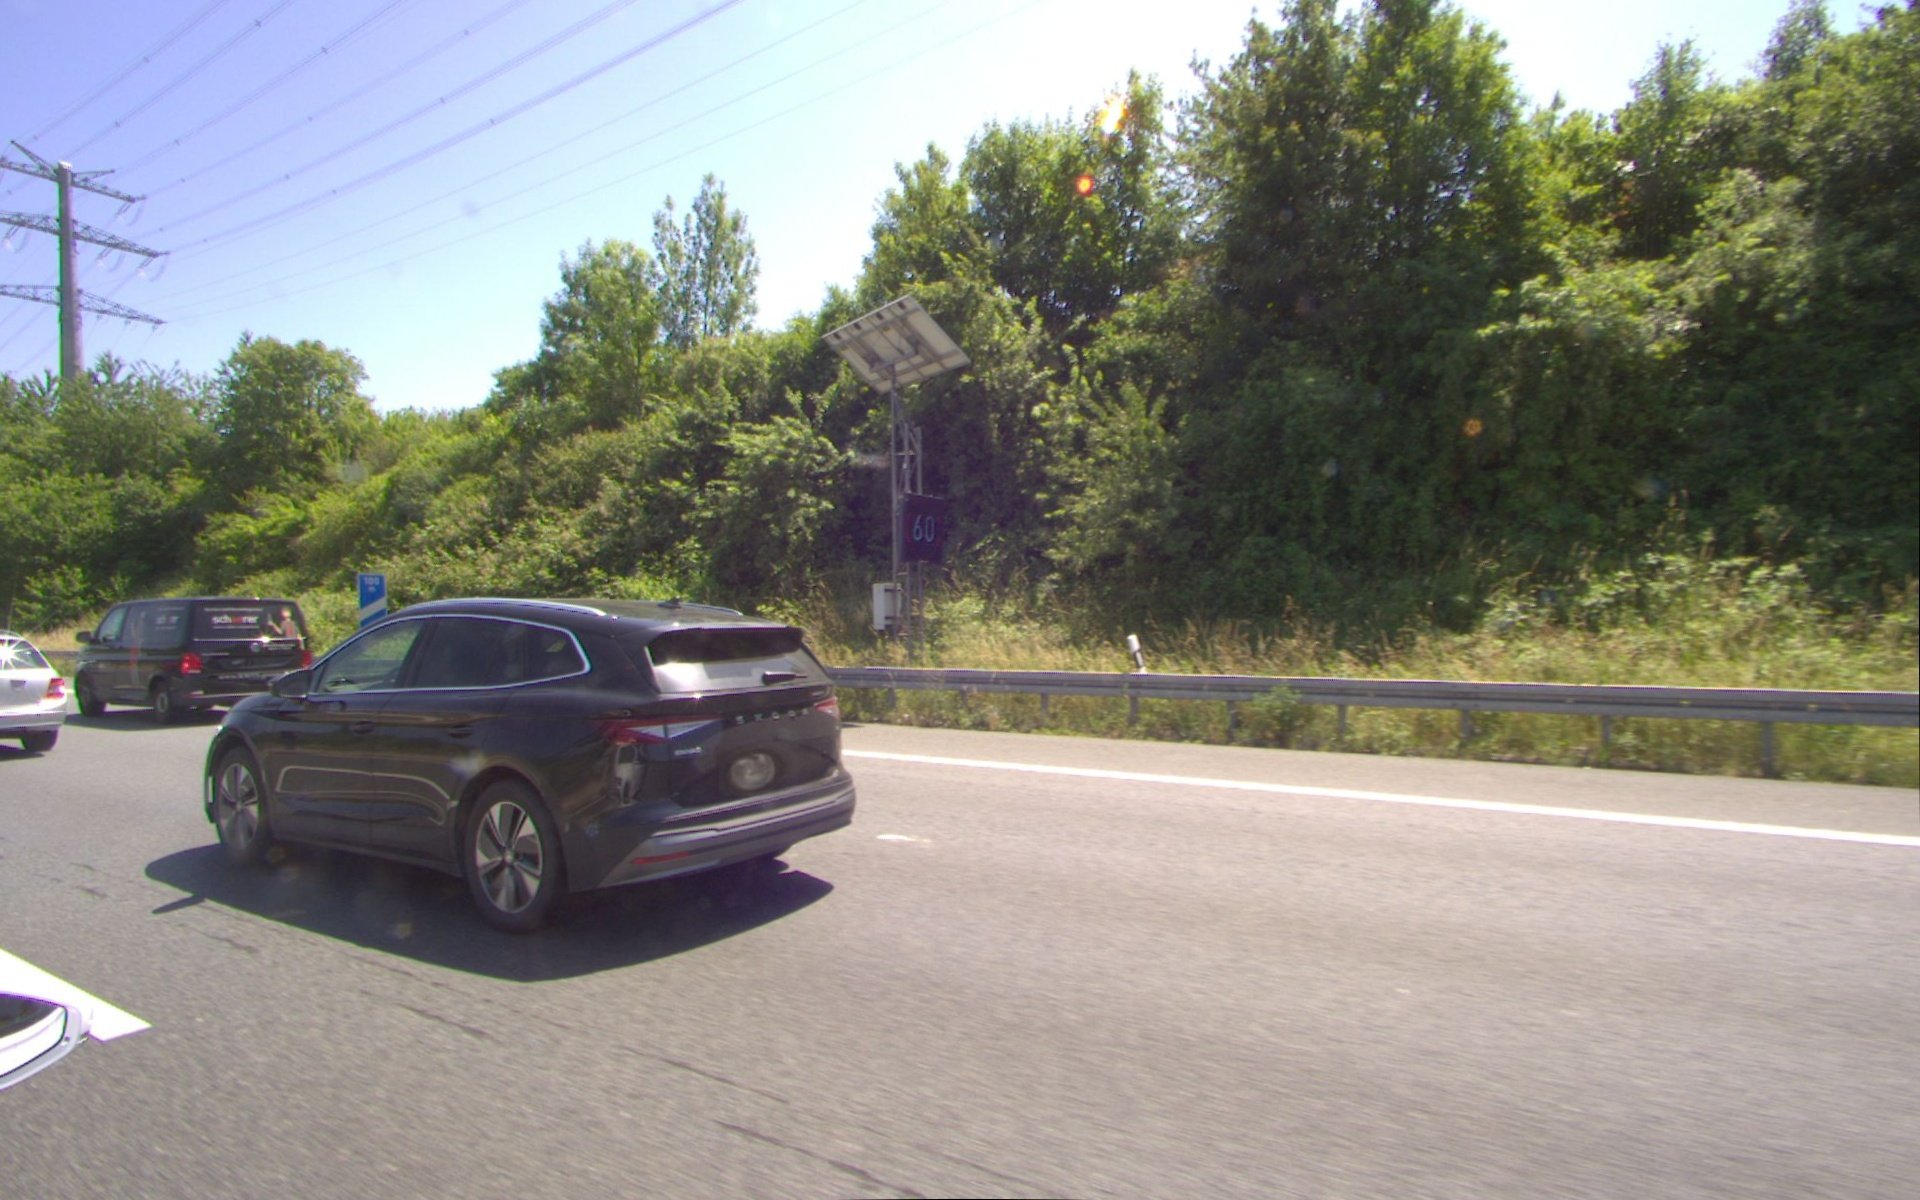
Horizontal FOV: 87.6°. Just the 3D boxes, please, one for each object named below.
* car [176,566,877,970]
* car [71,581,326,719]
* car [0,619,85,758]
[{"bbox_3d":[-2.759,0.765,6.048,4.365,1.676,1.698,-1,-2,32],"label":"car"},{"bbox_3d":[-12.603,0.798,16.545,4.162,2.039,1.797,-1,-2,28],"label":"car"},{"bbox_3d":[-12.535,1.015,12.101,4.297,1.537,1.768,-1,-2,32],"label":"car"}]
